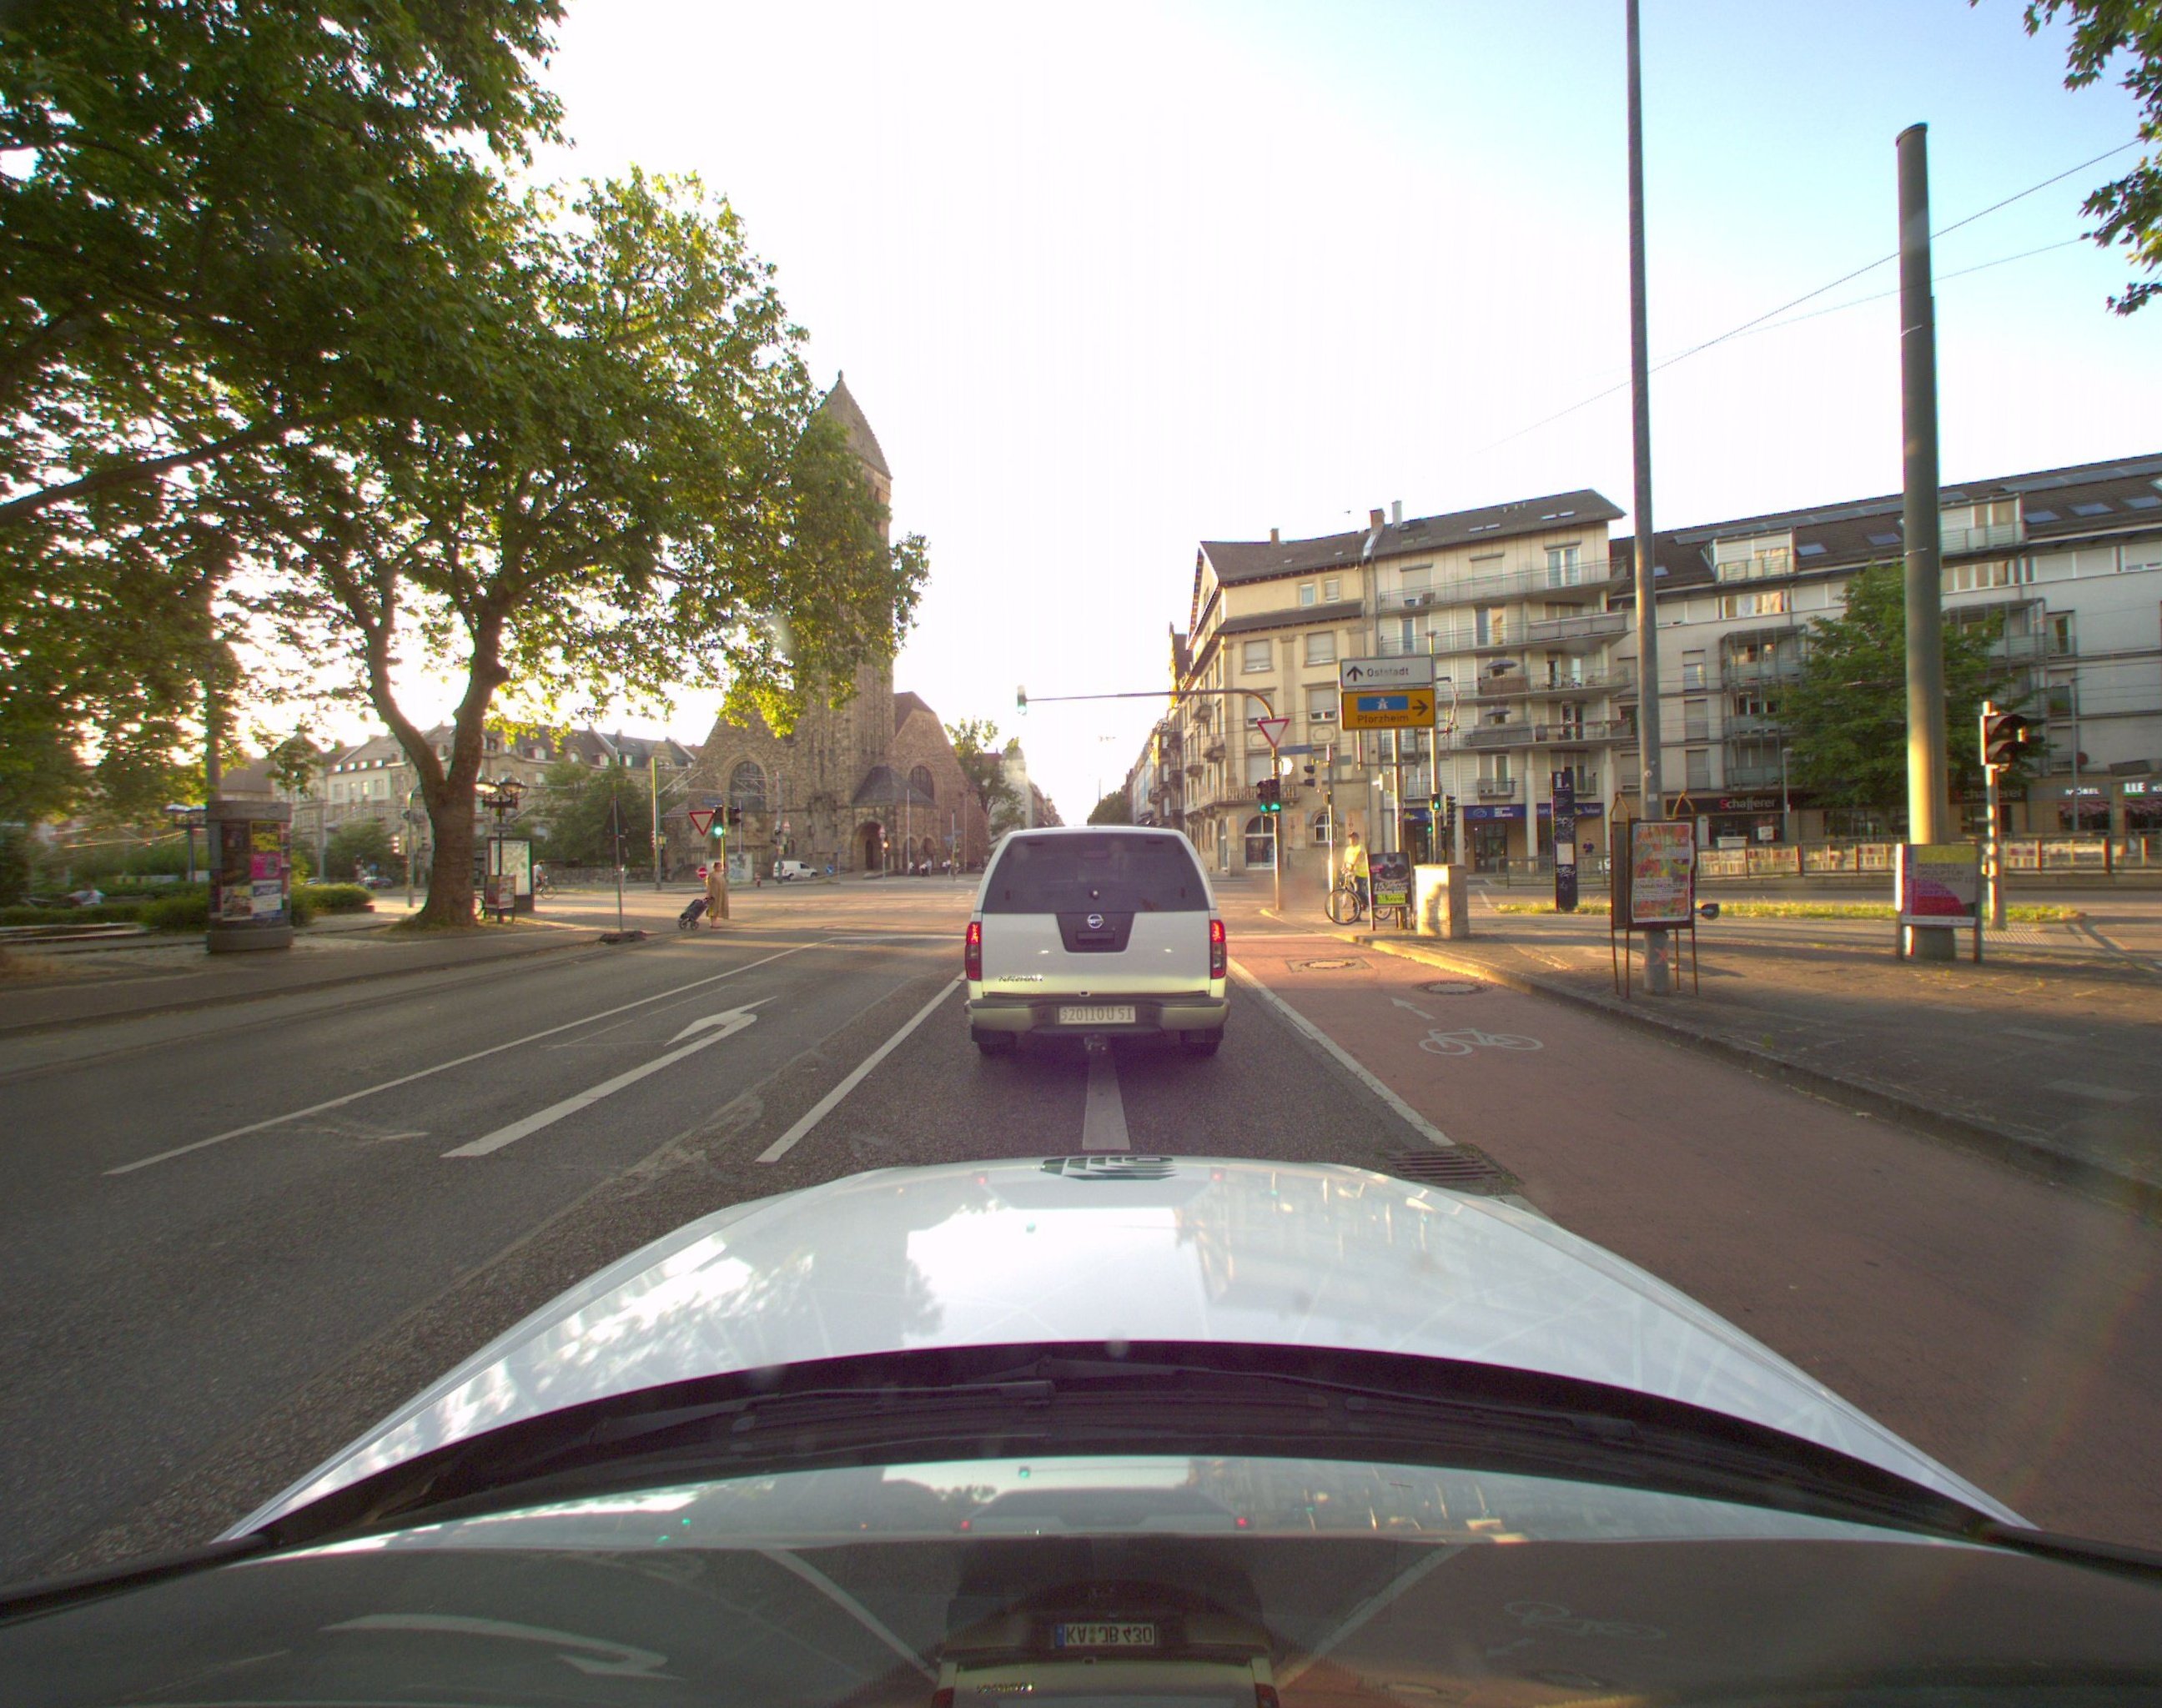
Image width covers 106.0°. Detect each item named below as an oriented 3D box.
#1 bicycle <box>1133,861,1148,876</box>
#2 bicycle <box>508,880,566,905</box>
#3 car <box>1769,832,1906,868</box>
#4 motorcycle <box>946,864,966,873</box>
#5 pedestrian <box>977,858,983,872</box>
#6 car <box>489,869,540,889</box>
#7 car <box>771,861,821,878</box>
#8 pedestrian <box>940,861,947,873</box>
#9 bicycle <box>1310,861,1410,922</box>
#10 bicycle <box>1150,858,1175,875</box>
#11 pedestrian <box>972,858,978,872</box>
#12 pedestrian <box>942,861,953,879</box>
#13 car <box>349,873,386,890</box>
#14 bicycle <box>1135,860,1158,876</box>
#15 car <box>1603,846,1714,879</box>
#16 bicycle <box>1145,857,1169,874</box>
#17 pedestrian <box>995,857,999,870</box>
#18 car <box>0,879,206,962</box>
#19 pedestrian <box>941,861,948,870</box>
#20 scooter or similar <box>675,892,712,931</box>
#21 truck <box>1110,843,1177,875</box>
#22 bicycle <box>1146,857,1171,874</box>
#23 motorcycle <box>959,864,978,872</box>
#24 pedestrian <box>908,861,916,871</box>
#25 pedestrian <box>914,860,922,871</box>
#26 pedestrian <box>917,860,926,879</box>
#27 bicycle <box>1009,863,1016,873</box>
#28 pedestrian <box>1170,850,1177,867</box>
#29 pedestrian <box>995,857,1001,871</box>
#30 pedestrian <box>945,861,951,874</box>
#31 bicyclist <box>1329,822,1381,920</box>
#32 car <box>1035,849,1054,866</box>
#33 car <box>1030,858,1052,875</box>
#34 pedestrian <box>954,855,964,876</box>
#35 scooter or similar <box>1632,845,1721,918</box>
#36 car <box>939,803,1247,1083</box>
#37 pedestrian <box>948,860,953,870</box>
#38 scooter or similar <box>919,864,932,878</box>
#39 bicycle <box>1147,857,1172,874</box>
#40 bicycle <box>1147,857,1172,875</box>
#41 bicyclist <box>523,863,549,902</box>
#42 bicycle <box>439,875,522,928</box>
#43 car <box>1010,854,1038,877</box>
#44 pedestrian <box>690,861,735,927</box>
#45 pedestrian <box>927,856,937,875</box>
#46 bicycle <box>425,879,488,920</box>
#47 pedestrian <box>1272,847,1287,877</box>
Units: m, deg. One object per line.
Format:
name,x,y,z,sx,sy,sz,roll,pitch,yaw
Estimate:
bicycle,4.648,1.134,63.636,1.073,1.024,0.317,-4,-1,-1
bicycle,-26.617,1.865,39.896,0.651,1.077,2.258,7,5,44
car,32.683,-0.153,35.319,3.952,1.486,1.859,-1,-1,21
motorcycle,-14.437,1.639,94.253,2.239,0.988,0.707,0,-1,-4
pedestrian,-12.453,1.321,100.318,0.640,1.695,0.562,0,-1,1
car,-51.806,2.297,74.470,3.951,1.618,2.011,-3,-1,23
car,-26.345,1.385,75.363,1.698,1.517,4.481,-1,-1,26
pedestrian,-13.858,1.305,82.009,0.474,1.245,0.526,-1,-1,19
bicycle,5.395,0.691,15.704,2.079,1.109,0.622,0,-1,-31
bicycle,6.213,0.931,62.253,1.812,1.150,0.636,-5,-1,-1
pedestrian,-12.744,1.332,98.021,0.642,1.695,0.560,0,-1,-7
pedestrian,-12.203,1.482,74.543,0.809,1.669,0.859,0,-1,-1
car,-72.907,2.760,83.194,3.948,1.684,2.013,-1,-1,36
bicycle,5.041,1.074,62.743,1.721,1.083,0.317,-5,-1,-1
car,26.799,0.409,37.967,3.950,1.486,1.860,-1,-1,26
bicycle,6.147,0.909,65.771,1.849,1.238,0.530,-5,-1,-1
pedestrian,-11.042,1.240,107.133,0.559,1.695,0.643,0,-1,-6
car,-26.782,1.733,21.440,1.975,1.781,4.669,-3,1,27
pedestrian,-13.605,1.145,80.913,0.517,0.960,0.481,-1,-1,19
scooter or similar,-9.410,1.394,19.803,0.591,0.898,0.849,0,-1,-9
truck,5.329,0.429,68.845,5.704,2.565,2.260,0,-1,-42
bicycle,6.102,0.915,63.909,1.812,1.238,0.477,-5,-1,-1
motorcycle,-13.344,1.661,96.518,2.146,0.988,0.597,-1,-1,21
pedestrian,-15.663,1.087,75.524,0.517,0.960,0.482,-1,-1,21
pedestrian,-15.051,1.078,75.235,0.517,0.960,0.482,-1,-1,21
pedestrian,-14.353,1.426,73.423,0.630,1.698,0.604,-1,-1,9
bicycle,-7.136,1.461,85.379,0.597,1.043,1.944,0,-1,-1
pedestrian,8.625,0.425,75.882,0.525,1.654,0.547,0,-1,1
pedestrian,-10.818,1.310,106.288,0.643,1.855,0.559,0,-1,-13
pedestrian,-13.460,1.346,82.350,0.474,1.245,0.526,-1,-1,19
bicyclist,5.251,0.315,15.630,0.701,1.824,0.622,0,-1,-31
car,-4.345,0.431,97.763,1.987,2.014,4.950,-2,-1,0
car,-4.053,1.276,83.471,1.987,1.558,4.767,-3,-1,0
pedestrian,-11.172,1.076,74.666,0.809,1.901,0.666,0,-1,-1
scooter or similar,10.627,0.486,14.546,1.219,1.249,0.518,-1,-1,41
car,0.136,0.603,7.278,1.986,1.809,4.001,0,-1,2
pedestrian,-12.927,1.105,80.726,0.522,0.960,0.477,0,-1,-14
scooter or similar,-13.812,1.496,72.292,0.629,1.103,1.083,-3,2,14
bicycle,6.225,0.890,64.633,1.812,1.238,0.412,-5,-1,-1
bicycle,6.118,0.900,63.197,1.812,1.238,0.488,-5,-1,-1
bicyclist,-26.663,1.374,39.814,0.650,1.827,0.864,1,3,44
bicycle,-15.822,1.220,21.511,0.522,1.326,1.998,-1,-1,7
car,-4.864,0.969,70.013,1.987,1.784,4.798,-3,0,0
pedestrian,-9.343,0.995,20.668,0.800,1.628,0.773,0,-1,-3
pedestrian,-13.392,1.036,73.174,0.629,1.698,0.605,-1,-1,12
bicycle,-18.049,1.301,23.591,0.456,1.093,1.798,0,-1,0
pedestrian,11.885,0.484,48.808,0.779,1.779,0.546,-1,-1,27
